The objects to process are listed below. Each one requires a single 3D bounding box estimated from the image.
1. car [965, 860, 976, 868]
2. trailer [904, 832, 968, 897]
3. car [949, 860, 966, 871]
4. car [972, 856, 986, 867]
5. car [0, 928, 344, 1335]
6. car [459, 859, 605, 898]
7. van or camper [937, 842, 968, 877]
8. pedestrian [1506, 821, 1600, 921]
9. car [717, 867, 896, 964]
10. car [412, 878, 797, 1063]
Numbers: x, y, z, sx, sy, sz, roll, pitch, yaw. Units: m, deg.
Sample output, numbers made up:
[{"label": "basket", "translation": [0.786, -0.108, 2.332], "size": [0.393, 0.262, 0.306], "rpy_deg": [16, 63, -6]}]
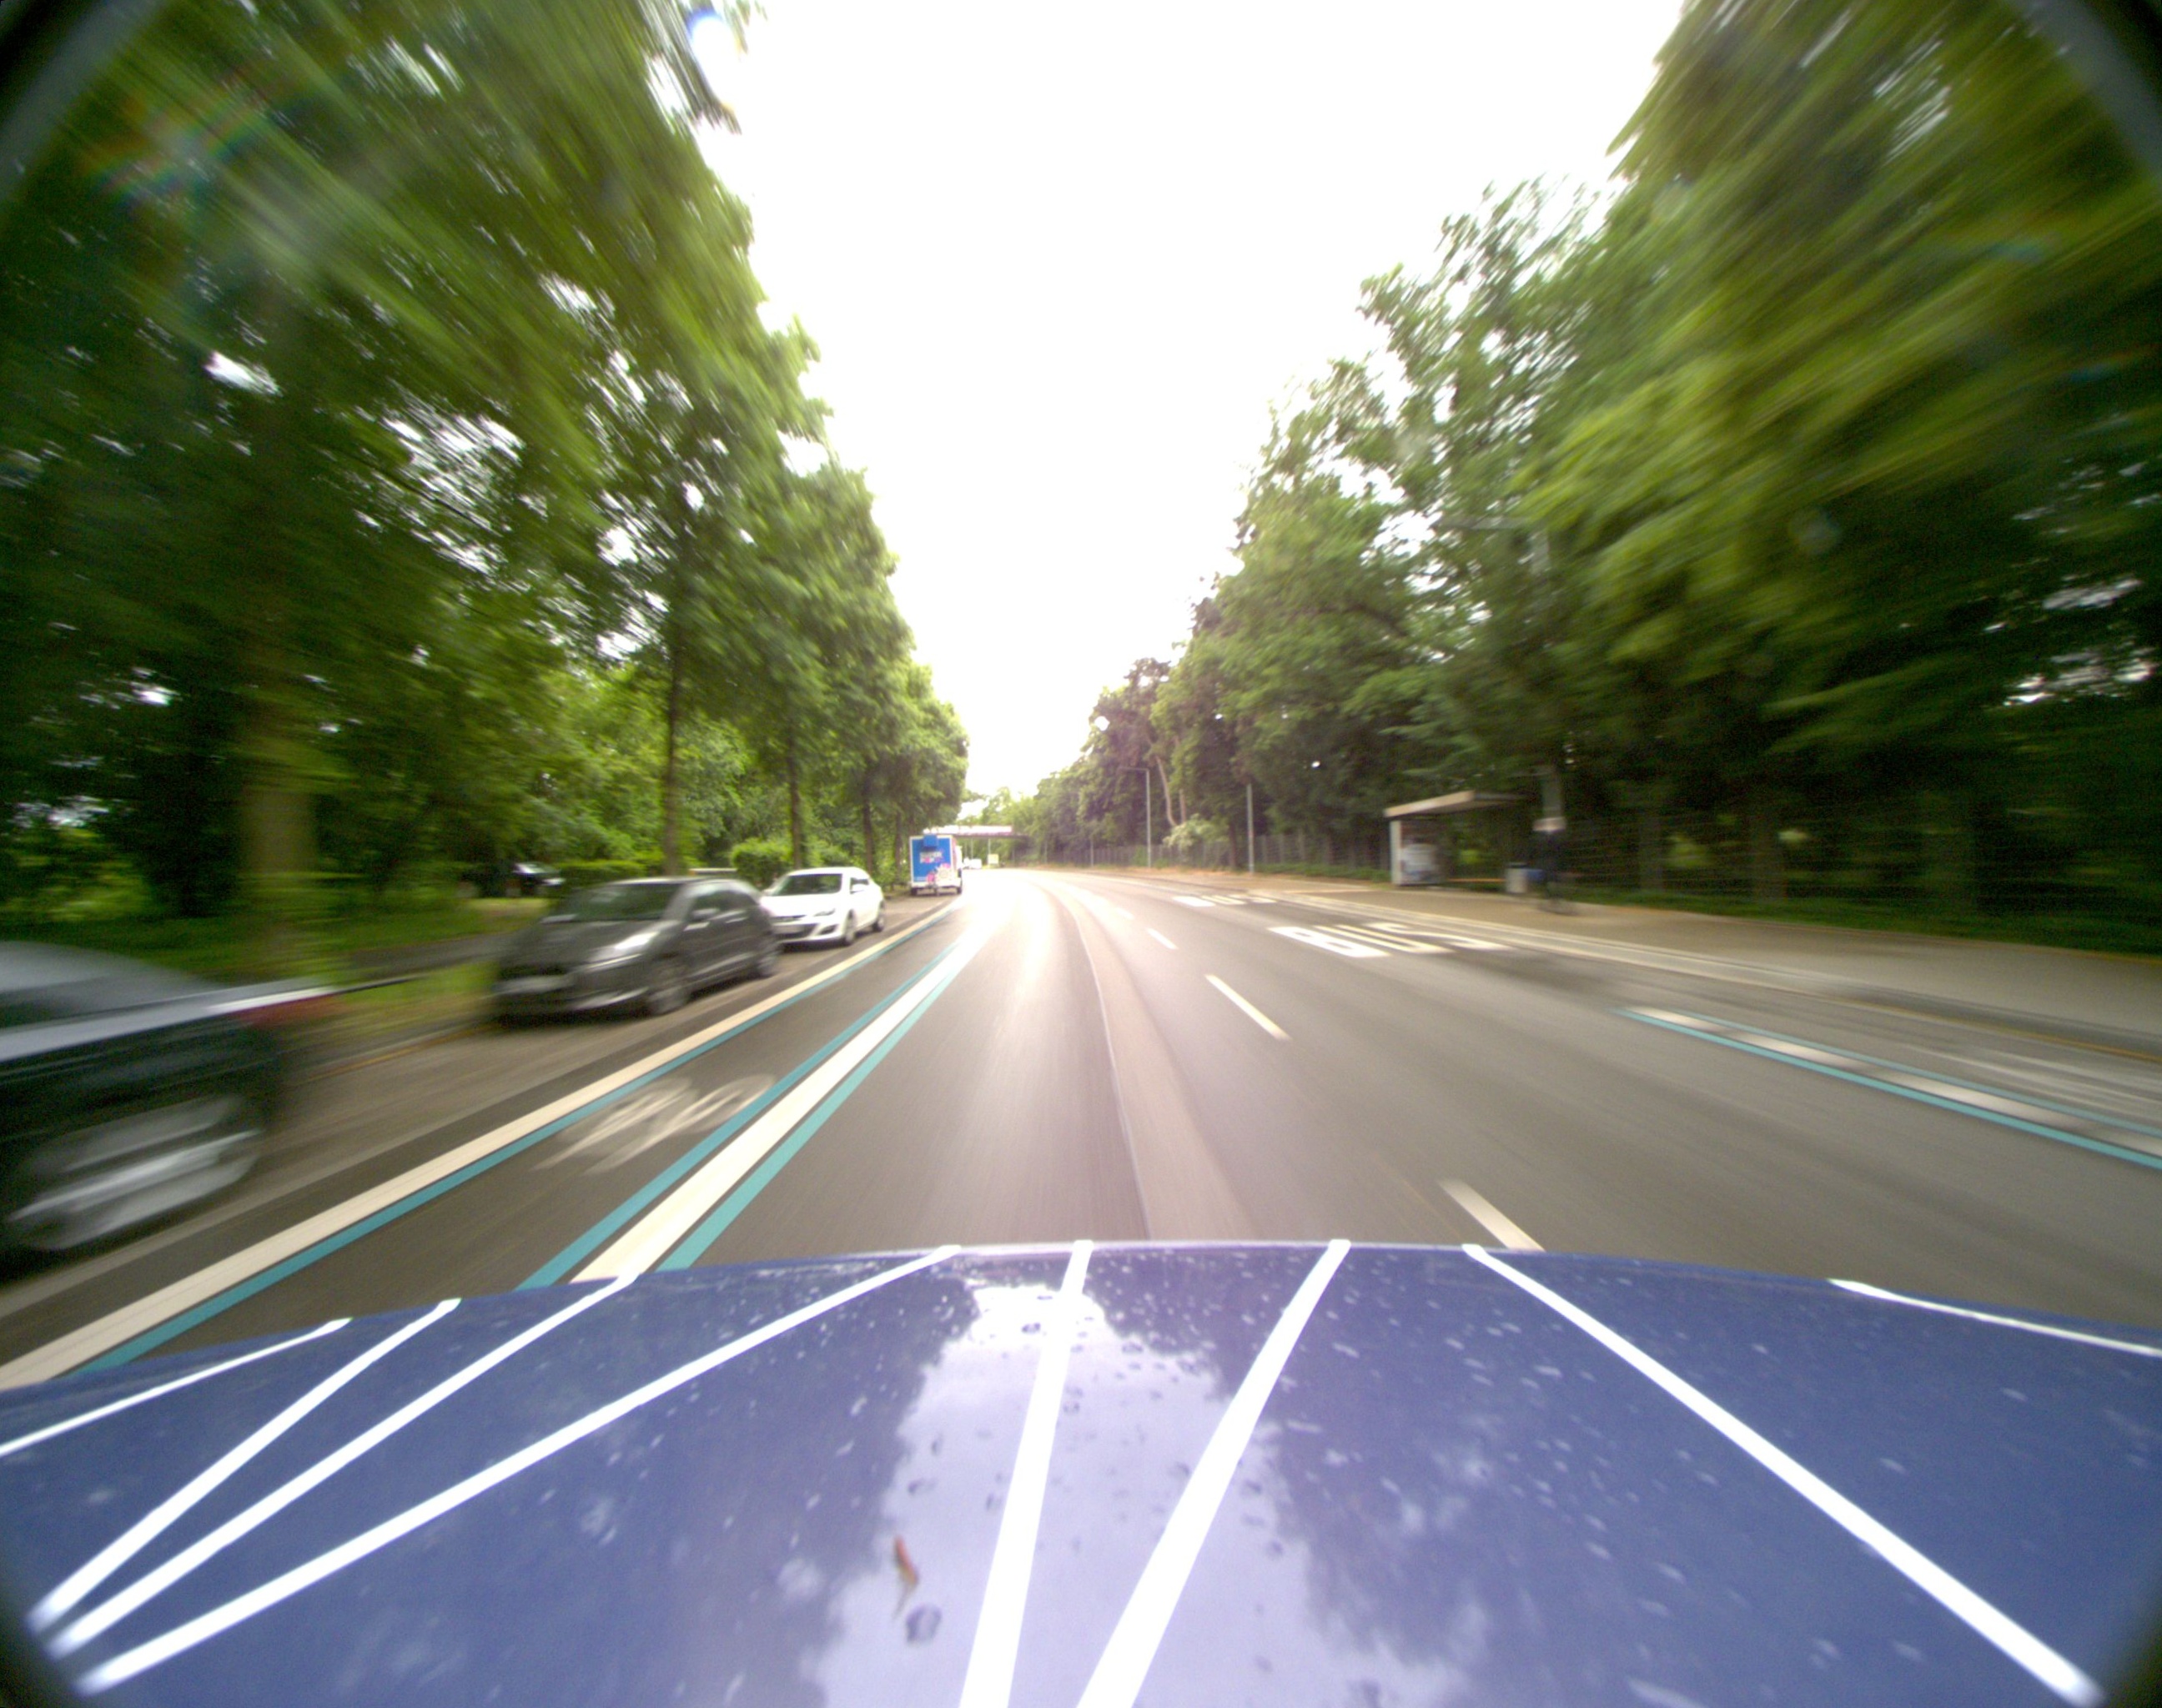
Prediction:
[{"label": "car", "translation": [-22.777, 2.075, 156.427], "size": [1.614, 1.437, 4.033], "rpy_deg": [0, -2, -17]}, {"label": "trailer", "translation": [-6.469, 0.424, 34.452], "size": [2.323, 2.656, 5.373], "rpy_deg": [-2, 0, -6]}, {"label": "car", "translation": [-17.433, 1.596, 107.002], "size": [1.830, 1.453, 3.877], "rpy_deg": [-2, -1, -17]}, {"label": "car", "translation": [-19.193, 1.389, 143.100], "size": [1.986, 1.902, 5.222], "rpy_deg": [-1, -2, -14]}, {"label": "car", "translation": [-5.001, 1.177, 1.775], "size": [1.786, 1.399, 4.844], "rpy_deg": [-3, 1, -1]}, {"label": "car", "translation": [-20.303, 0.888, 28.197], "size": [4.145, 1.314, 1.891], "rpy_deg": [0, 1, 5]}, {"label": "van or camper", "translation": [-10.644, 0.417, 63.174], "size": [2.324, 2.649, 6.376], "rpy_deg": [-2, 0, -9]}, {"label": "pedestrian", "translation": [8.562, 0.293, 13.833], "size": [0.889, 1.723, 1.145], "rpy_deg": [-2, 1, -6]}, {"label": "car", "translation": [-5.174, 1.077, 15.083], "size": [1.864, 1.420, 4.648], "rpy_deg": [-3, 1, -1]}, {"label": "car", "translation": [-5.123, 1.125, 9.036], "size": [1.687, 1.420, 4.318], "rpy_deg": [-3, 1, 2]}]
